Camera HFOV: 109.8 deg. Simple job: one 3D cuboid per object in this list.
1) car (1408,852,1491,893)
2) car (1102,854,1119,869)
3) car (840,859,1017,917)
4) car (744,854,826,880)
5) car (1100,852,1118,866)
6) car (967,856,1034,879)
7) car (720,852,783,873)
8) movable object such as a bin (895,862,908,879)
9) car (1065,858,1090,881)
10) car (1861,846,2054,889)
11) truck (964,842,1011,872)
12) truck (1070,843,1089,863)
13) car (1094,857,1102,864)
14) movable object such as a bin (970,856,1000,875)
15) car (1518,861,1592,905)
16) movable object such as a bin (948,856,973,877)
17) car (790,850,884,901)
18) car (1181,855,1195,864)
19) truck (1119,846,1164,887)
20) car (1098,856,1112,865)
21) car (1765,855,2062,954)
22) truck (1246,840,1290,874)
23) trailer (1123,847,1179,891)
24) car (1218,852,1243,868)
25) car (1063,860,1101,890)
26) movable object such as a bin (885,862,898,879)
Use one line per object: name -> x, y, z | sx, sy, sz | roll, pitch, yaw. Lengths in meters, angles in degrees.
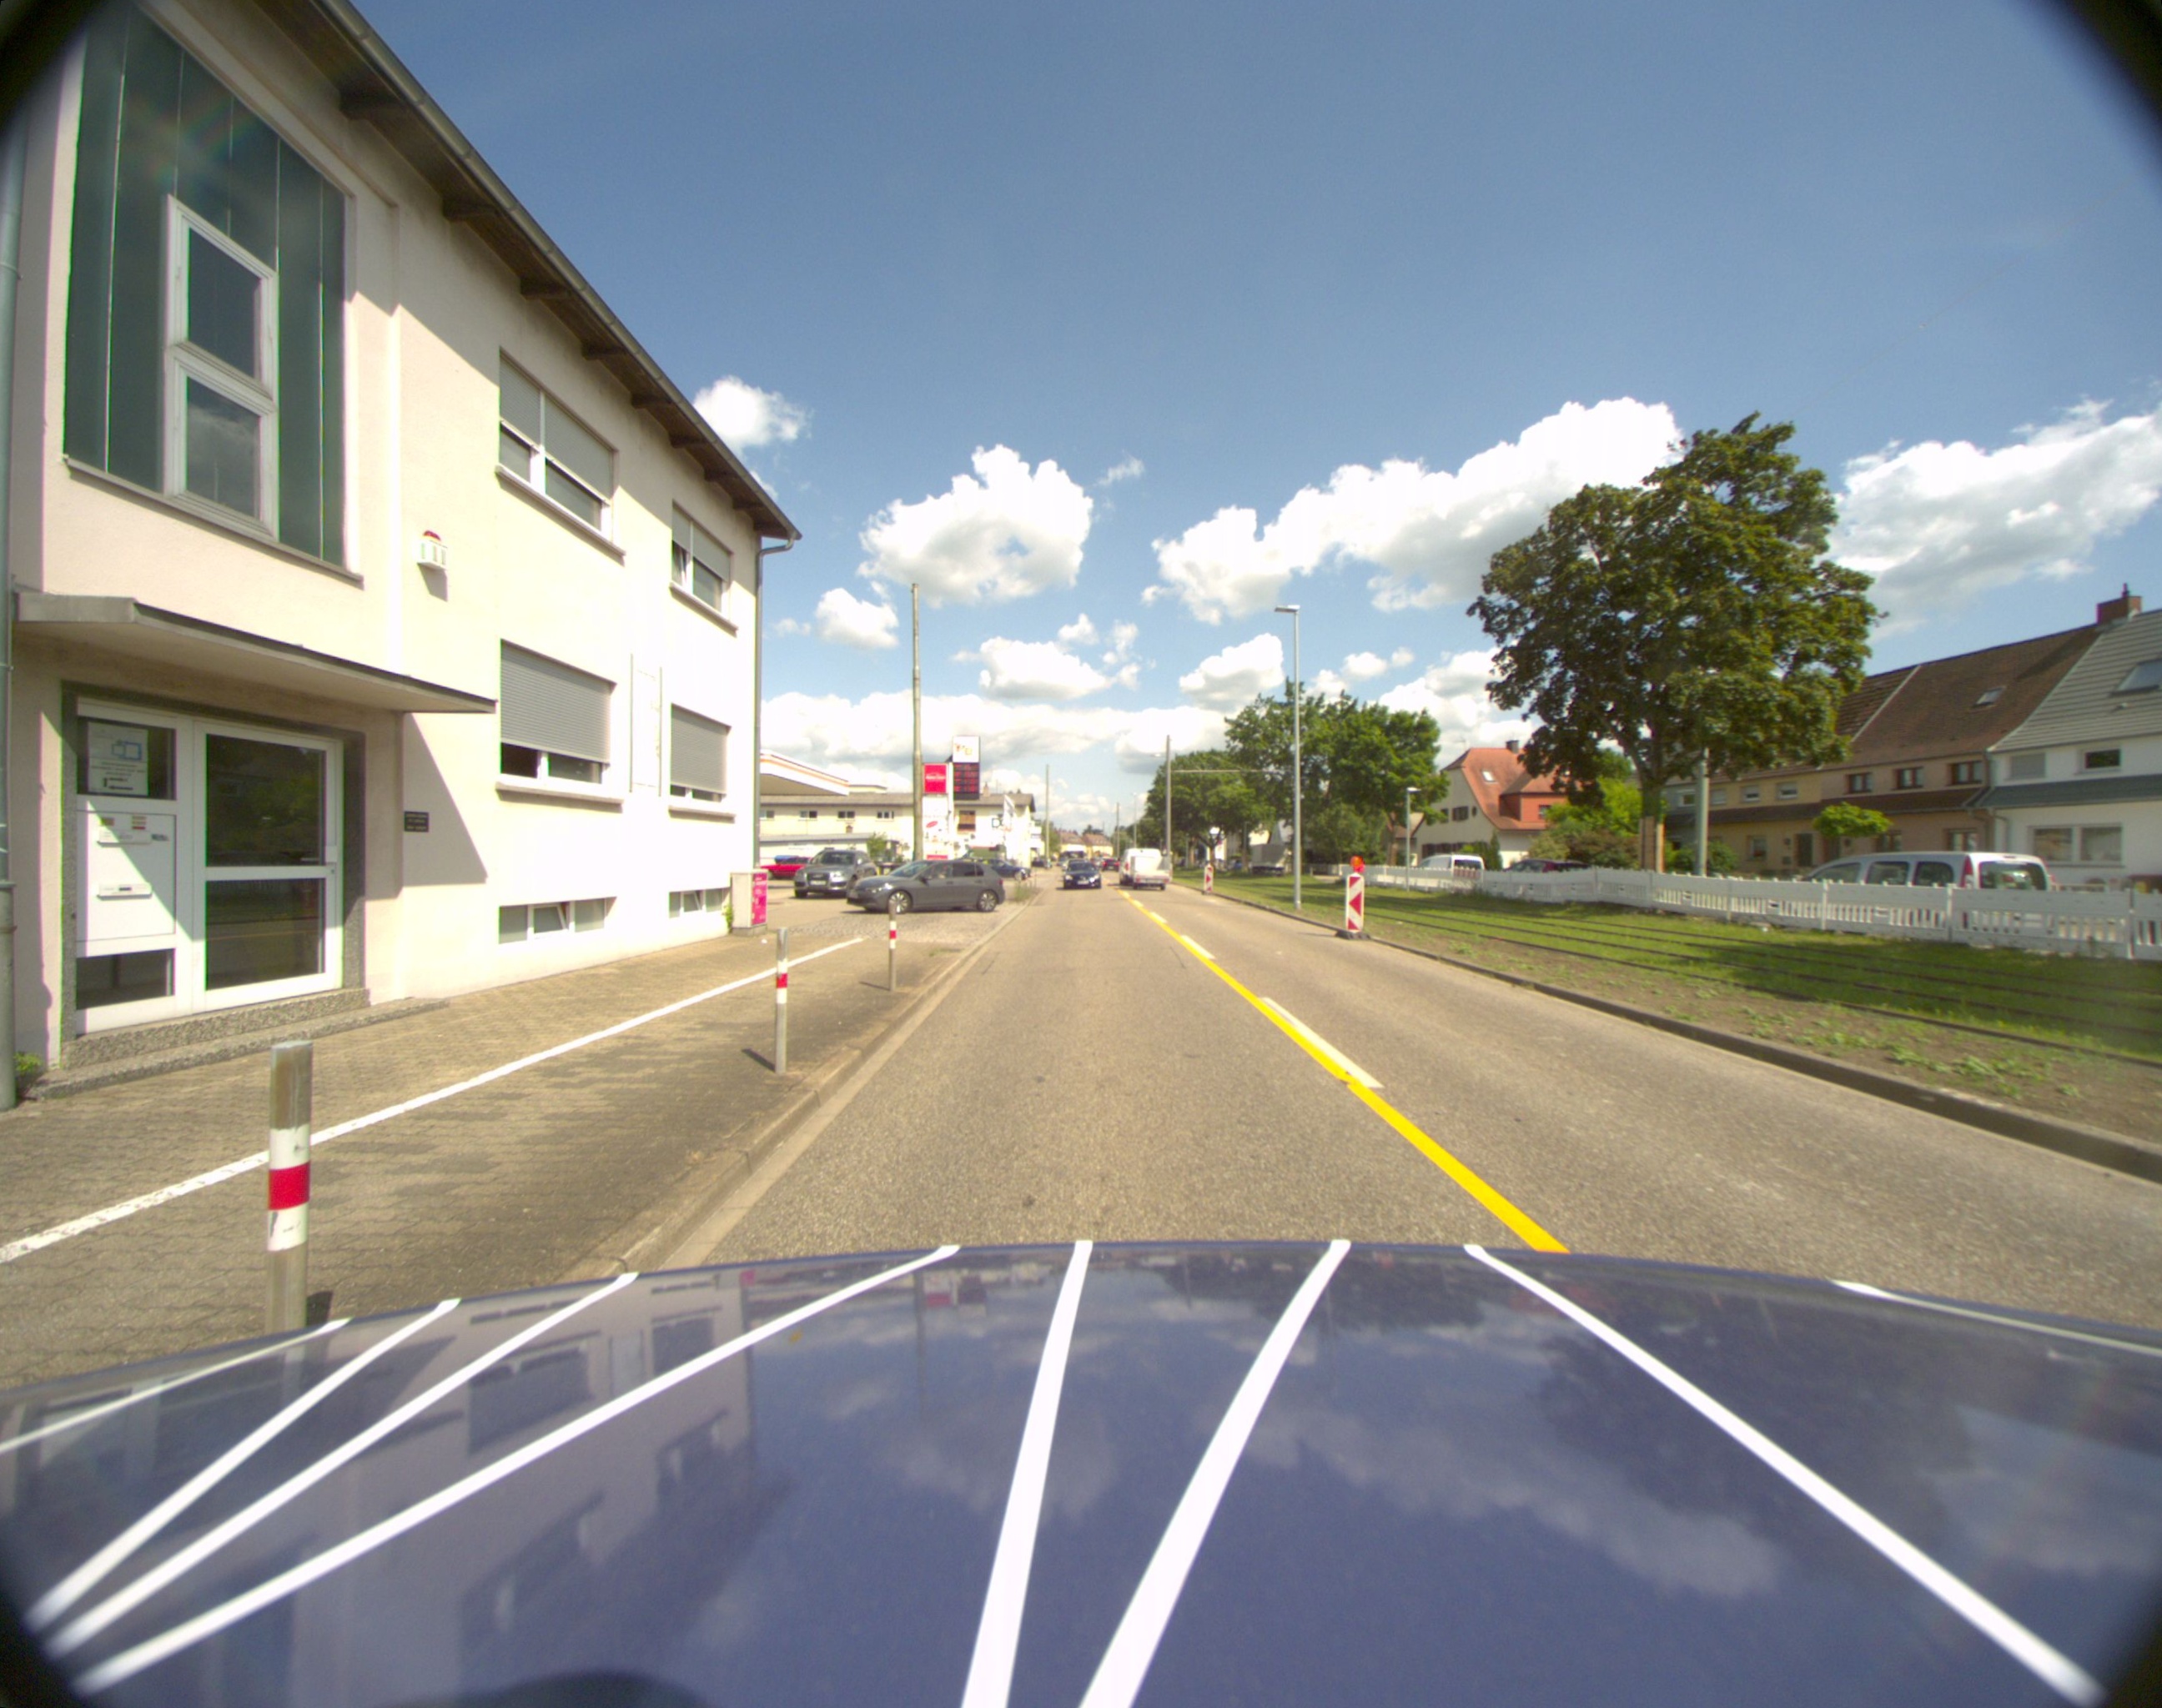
car -> 16.156, 0.759, 33.539 | 1.657, 1.616, 4.000 | 1, 1, 0
car -> 3.700, 0.916, 95.837 | 1.829, 1.656, 4.461 | 1, 1, 0
car -> -4.022, 0.873, 20.490 | 4.390, 1.409, 1.739 | 1, -1, -40
car -> -17.401, 0.752, 44.797 | 4.145, 1.416, 1.771 | 1, 1, 1
car -> 2.983, 0.496, 81.428 | 1.697, 1.404, 3.858 | 2, 1, -1
car -> -5.209, 0.864, 49.369 | 4.061, 1.400, 1.648 | 0, 1, 6
car -> -20.788, 0.522, 47.986 | 3.310, 1.218, 1.487 | 1, 1, 1
movable object such as a bin -> -11.057, 1.004, 46.872 | 0.582, 1.004, 0.706 | -2, 1, -1
car -> -0.214, 1.018, 51.662 | 1.594, 1.418, 3.707 | -2, 1, 0
car -> 28.465, 0.390, 24.896 | 1.537, 1.268, 4.120 | 1, 1, 0
truck -> -8.962, 0.274, 73.041 | 4.181, 2.645, 2.108 | -2, 1, 1
truck -> -0.233, -0.204, 114.975 | 2.632, 2.871, 7.923 | -2, 1, 1
car -> 3.477, 1.325, 154.871 | 1.582, 1.461, 3.720 | 2, 1, 0
movable object such as a bin -> -7.069, 0.821, 56.103 | 1.968, 1.339, 1.708 | -2, 1, -1
car -> 15.935, 0.950, 25.644 | 1.075, 1.340, 2.449 | 1, 1, 4
movable object such as a bin -> -8.808, 0.913, 55.494 | 1.536, 1.402, 1.765 | -2, 1, -1
car -> -8.380, 0.678, 26.548 | 1.951, 1.615, 4.614 | 1, 0, -2
car -> 16.351, 0.815, 116.269 | 1.637, 1.294, 3.999 | -2, 1, 0
truck -> 3.080, 0.578, 39.615 | 1.825, 1.898, 5.114 | 2, 1, -1
car -> 3.753, 1.020, 119.201 | 1.826, 1.436, 4.483 | 2, 0, -1
car -> 16.304, 0.893, 15.235 | 1.627, 1.642, 3.898 | 1, 1, 0
truck -> 16.194, 0.238, 66.132 | 2.371, 2.789, 5.950 | -2, 1, 0
trailer -> 3.194, 0.629, 35.723 | 2.067, 1.825, 5.484 | 2, 1, 0
car -> 15.089, 0.618, 76.827 | 1.672, 1.504, 3.930 | -2, 1, 0
car -> 0.053, 0.972, 36.932 | 1.732, 1.259, 3.999 | -2, 1, 0
movable object such as a bin -> -11.674, 1.021, 46.810 | 0.582, 1.004, 0.706 | -2, 1, -1
